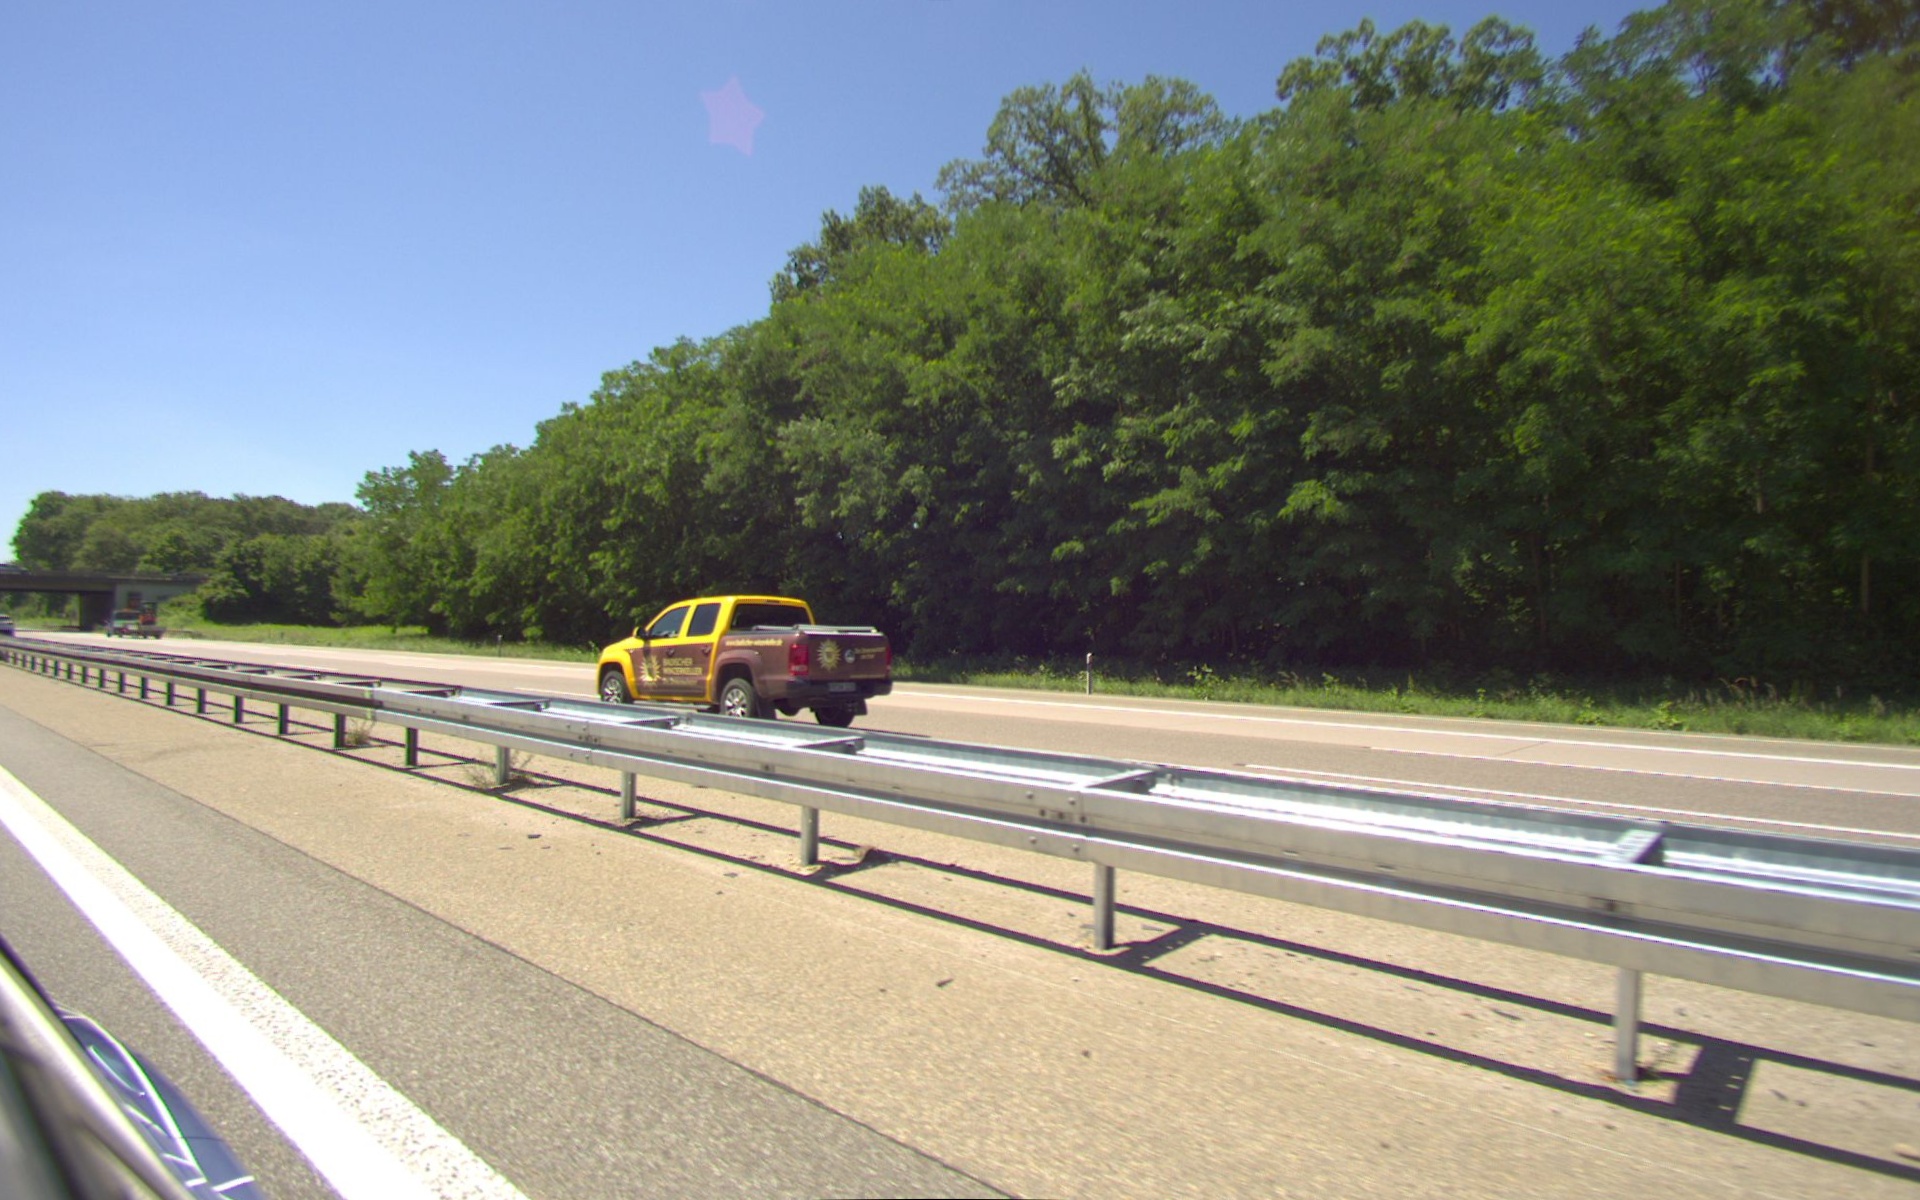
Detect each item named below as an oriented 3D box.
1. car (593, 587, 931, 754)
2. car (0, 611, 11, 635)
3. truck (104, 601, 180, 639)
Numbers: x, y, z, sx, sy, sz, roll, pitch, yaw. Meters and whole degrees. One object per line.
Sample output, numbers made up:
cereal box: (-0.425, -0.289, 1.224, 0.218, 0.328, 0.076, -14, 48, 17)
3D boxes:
car: (-2.989, 0.853, 14.447, 5.209, 1.979, 1.973, -1, 0, 41)
car: (-74.088, 1.804, 77.211, 5.262, 1.719, 1.973, -2, -1, 41)
truck: (-68.948, 1.705, 85.181, 12.849, 3.013, 2.724, -1, -2, 41)
